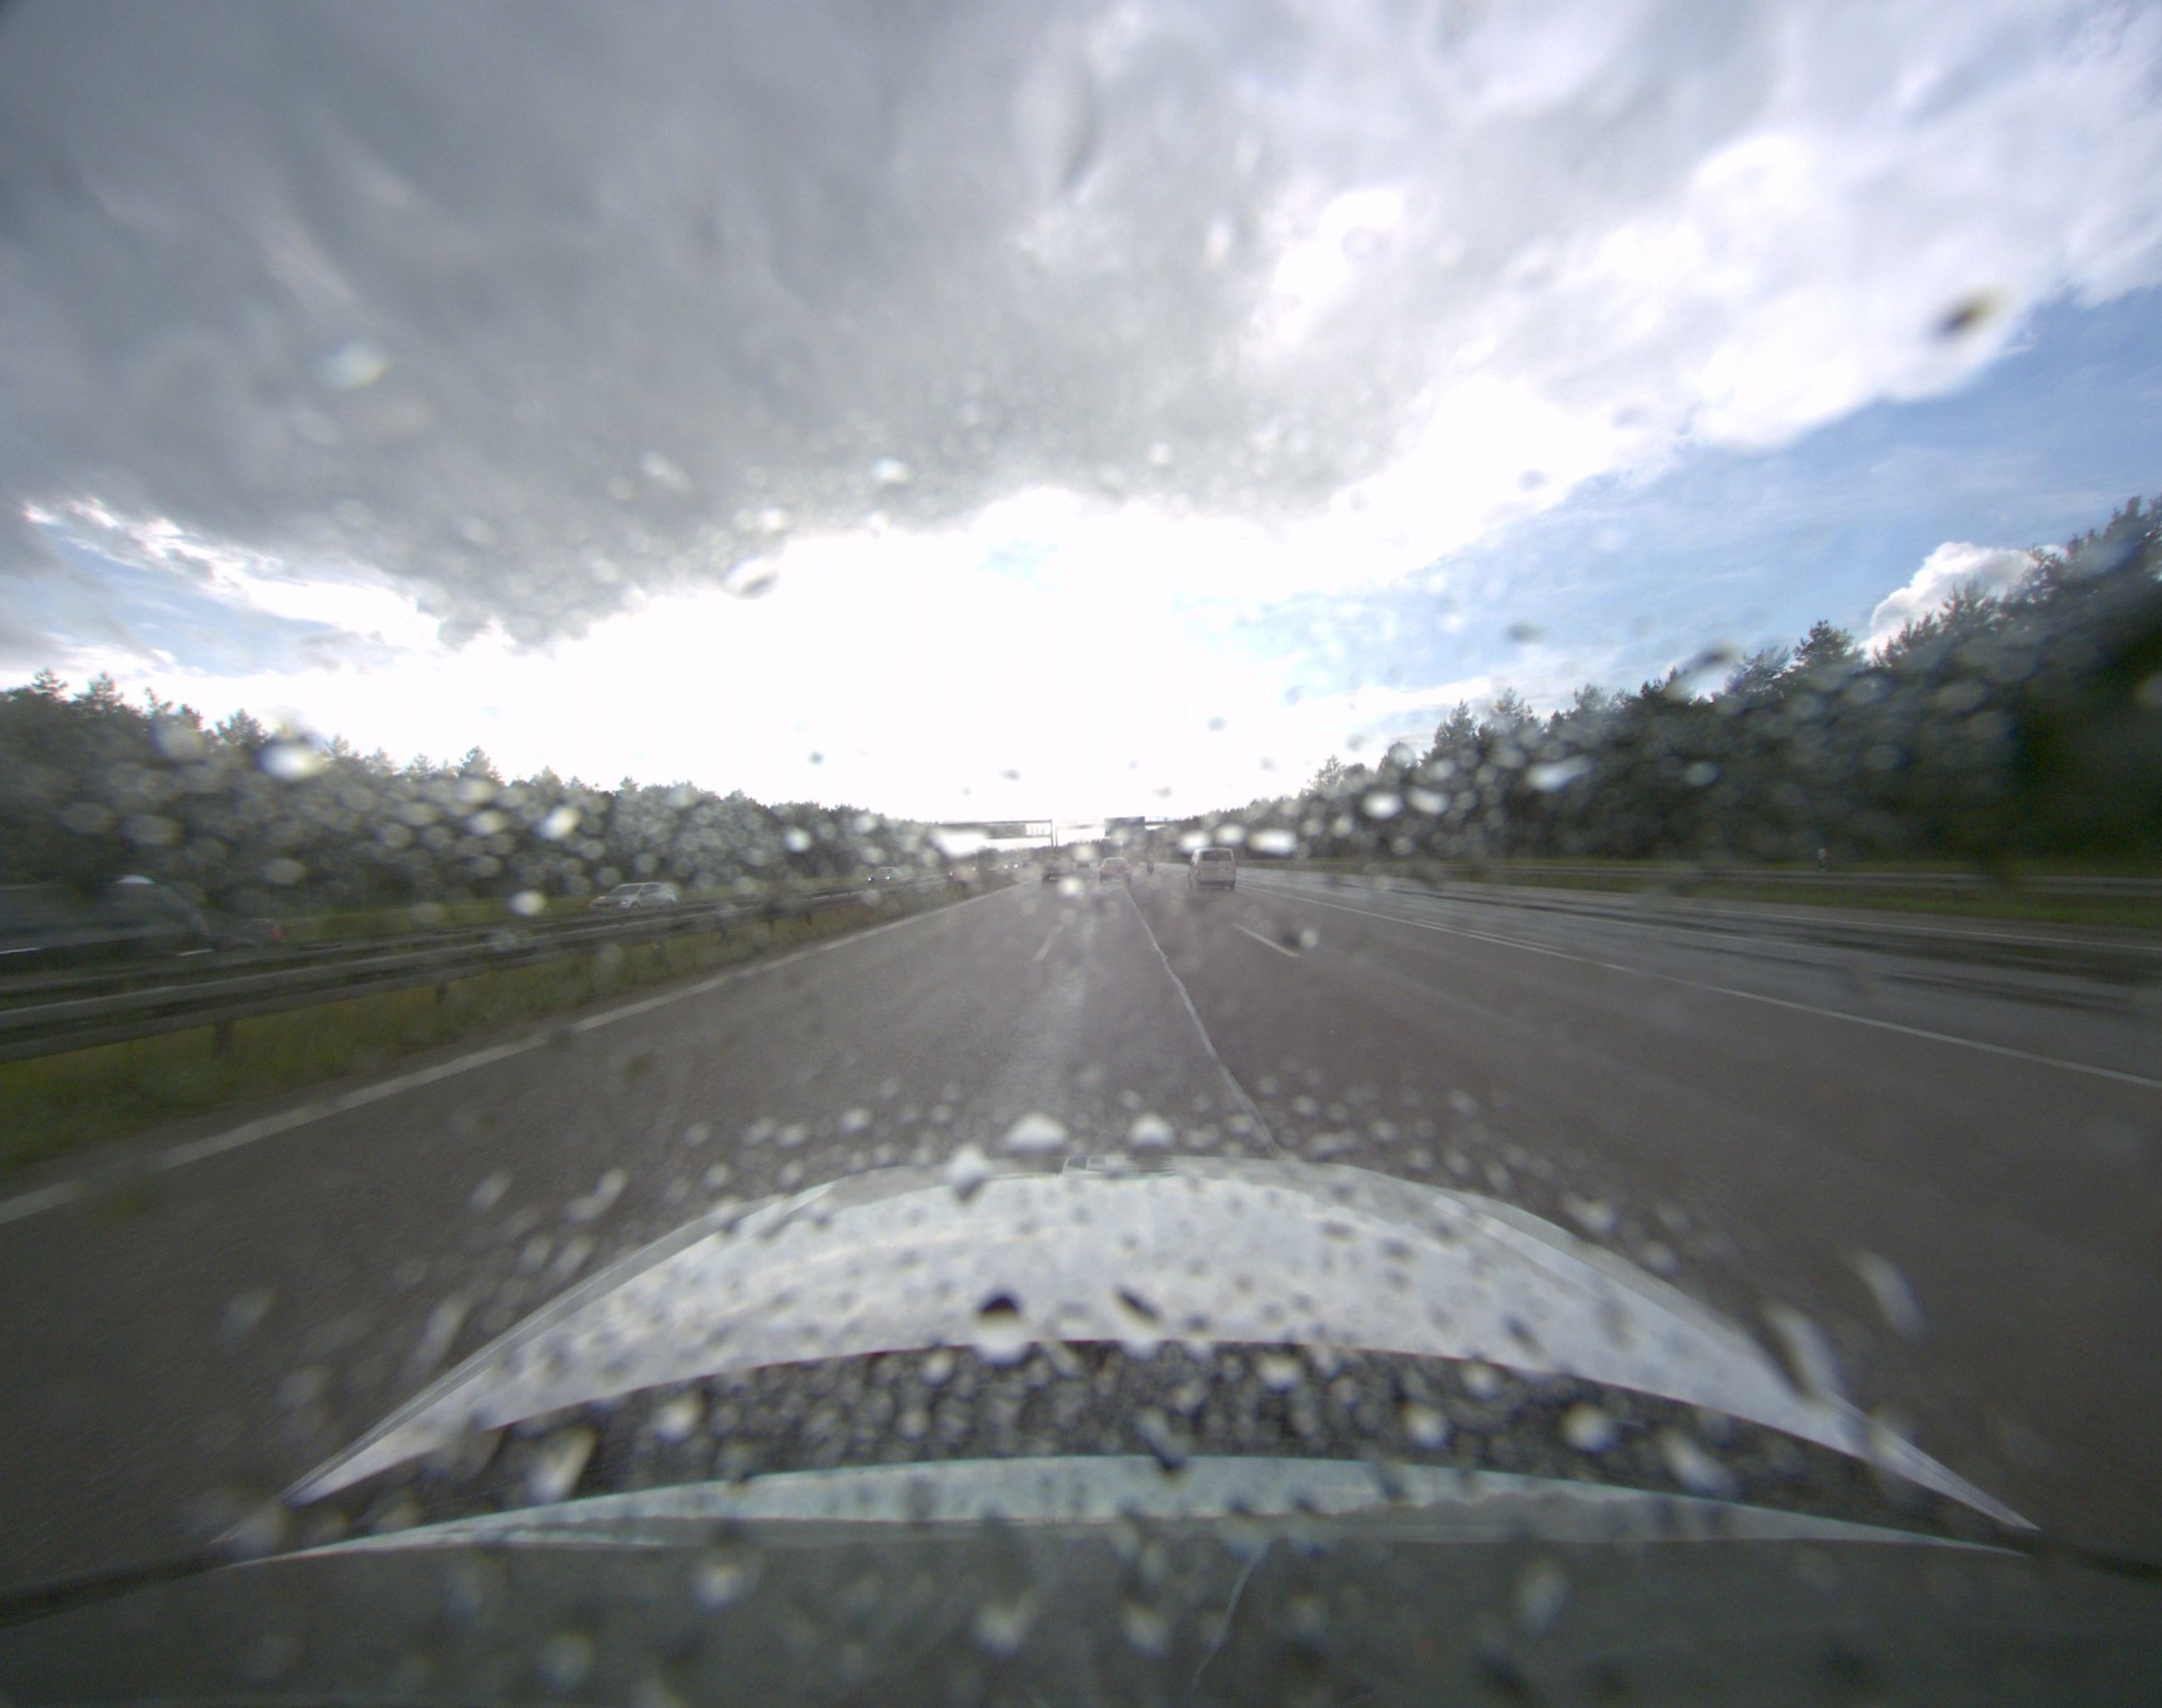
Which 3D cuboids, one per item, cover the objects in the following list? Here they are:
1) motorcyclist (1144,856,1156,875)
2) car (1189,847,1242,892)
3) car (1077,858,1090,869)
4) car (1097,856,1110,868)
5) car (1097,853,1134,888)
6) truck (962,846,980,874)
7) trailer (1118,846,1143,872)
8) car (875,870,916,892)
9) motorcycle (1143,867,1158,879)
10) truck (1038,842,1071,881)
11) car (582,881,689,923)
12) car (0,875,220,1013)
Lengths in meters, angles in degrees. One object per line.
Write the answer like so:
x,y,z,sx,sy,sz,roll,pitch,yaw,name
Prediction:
5.922,0.985,69.516,0.888,1.615,0.958,-1,-1,-1,motorcyclist
6.067,0.664,37.306,1.954,1.902,4.888,-2,0,5,car
0.412,1.416,122.697,1.825,1.466,3.999,-1,-1,0,car
3.863,1.298,139.664,1.903,2.014,3.998,-1,0,-1,car
2.052,0.955,48.085,2.069,1.885,5.014,-1,-1,3,car
-17.377,0.969,128.777,2.131,4.238,4.708,0,-1,2,truck
8.090,0.890,134.461,2.319,4.001,13.390,-2,-1,-4,trailer
-14.104,1.999,62.161,1.909,1.456,4.653,-2,0,1,car
5.941,1.610,69.709,0.996,1.031,2.173,-2,0,0,motorcycle
-1.823,0.500,55.970,2.132,2.489,5.308,-1,0,-2,truck
-19.005,1.996,35.022,1.784,1.472,4.821,-3,0,2,car
-12.969,1.061,9.175,1.985,1.472,4.120,-2,0,4,car
